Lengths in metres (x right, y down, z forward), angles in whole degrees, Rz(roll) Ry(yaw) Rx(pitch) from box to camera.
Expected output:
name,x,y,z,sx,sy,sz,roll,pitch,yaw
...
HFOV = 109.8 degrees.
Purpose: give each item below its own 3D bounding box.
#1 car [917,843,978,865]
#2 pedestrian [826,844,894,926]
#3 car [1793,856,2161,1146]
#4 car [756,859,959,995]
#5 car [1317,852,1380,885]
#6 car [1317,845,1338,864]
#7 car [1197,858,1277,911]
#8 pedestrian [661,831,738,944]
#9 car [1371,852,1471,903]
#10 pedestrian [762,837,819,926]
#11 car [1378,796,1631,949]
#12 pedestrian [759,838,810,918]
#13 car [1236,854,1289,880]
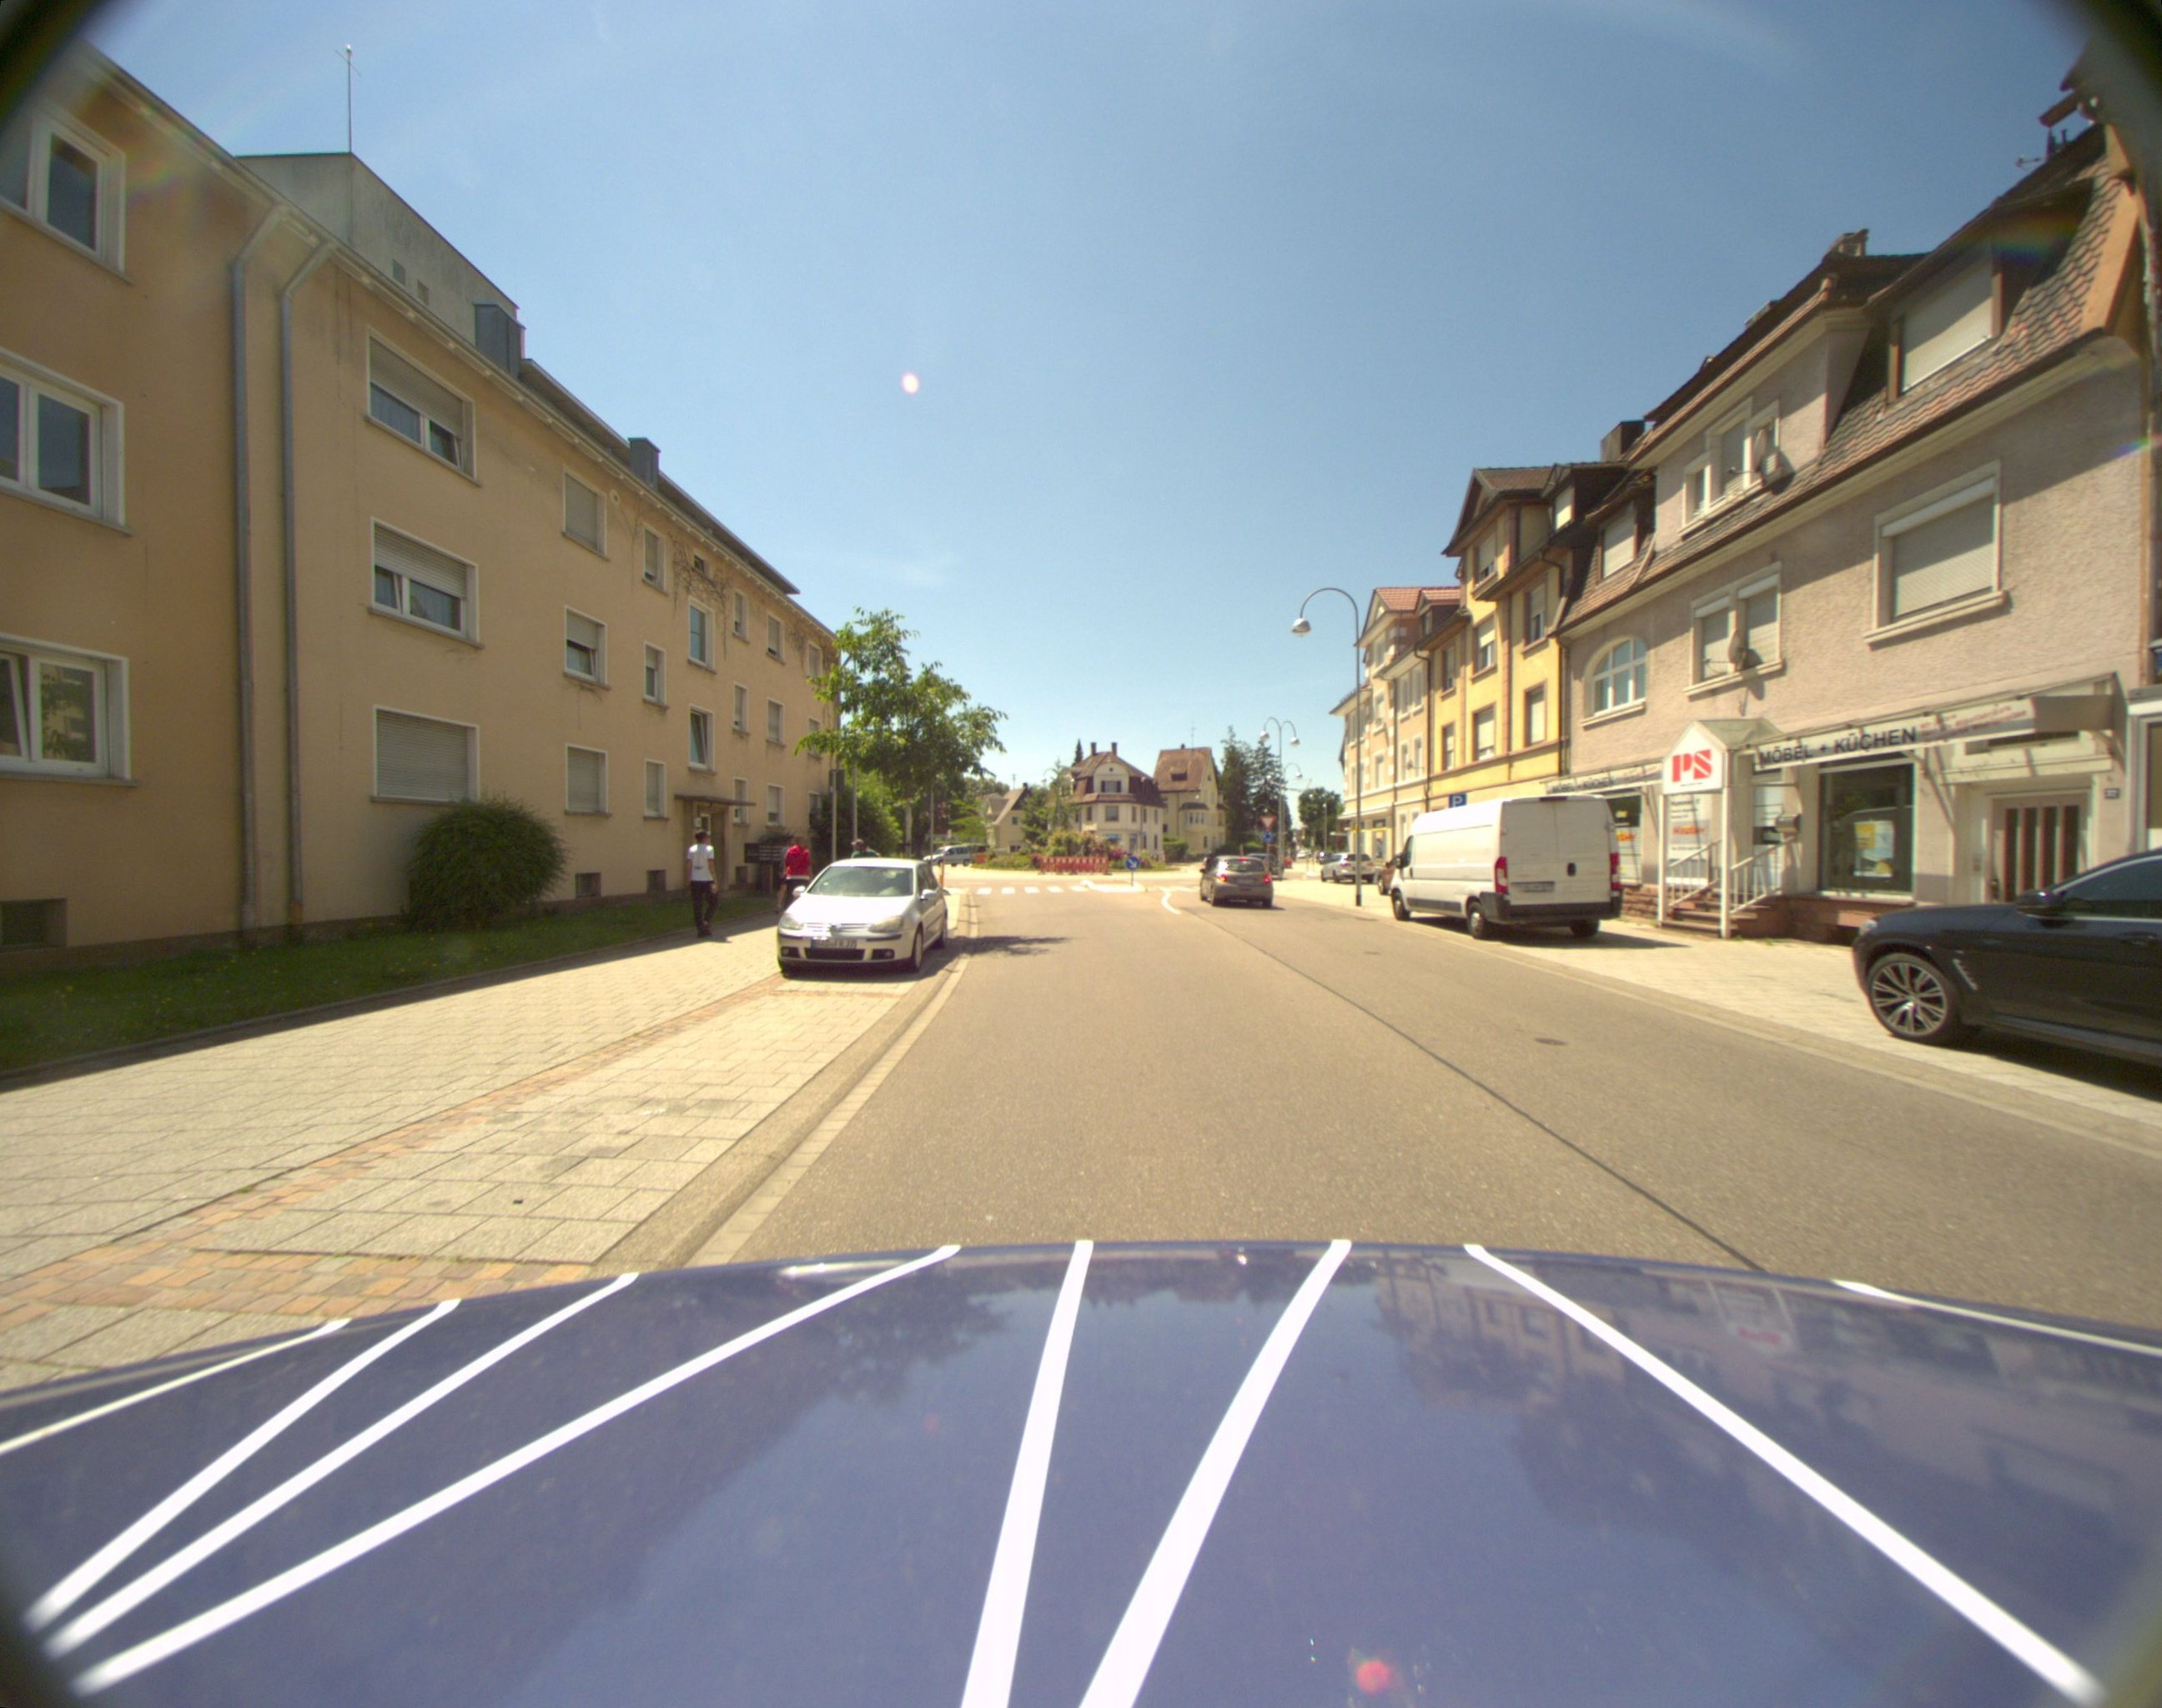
name,x,y,z,sx,sy,sz,roll,pitch,yaw
car,-10.867,-0.037,62.229,4.577,1.727,1.994,0,1,-44
pedestrian,-4.913,0.657,16.995,1.174,1.723,1.191,3,1,-3
car,7.228,0.840,4.401,2.089,1.605,5.113,-1,0,11
car,-2.981,0.883,11.175,1.818,1.468,4.505,1,1,-3
car,13.016,0.680,37.302,1.798,1.494,4.948,-1,0,6
car,27.620,0.043,85.078,1.995,1.838,4.004,0,3,22
car,4.574,0.842,22.796,1.735,1.403,4.001,2,0,3
pedestrian,-6.407,0.545,12.816,0.822,1.843,0.984,0,1,-2
car,11.159,0.718,25.271,1.798,1.532,4.117,-1,0,6
pedestrian,-6.153,0.564,16.147,0.790,1.801,1.006,2,1,-2
car,8.132,0.294,15.517,2.123,2.435,6.119,-2,0,5
pedestrian,-6.742,0.528,17.335,0.796,1.768,1.008,0,1,-2
car,11.376,0.761,47.475,1.796,1.481,4.399,1,2,33
